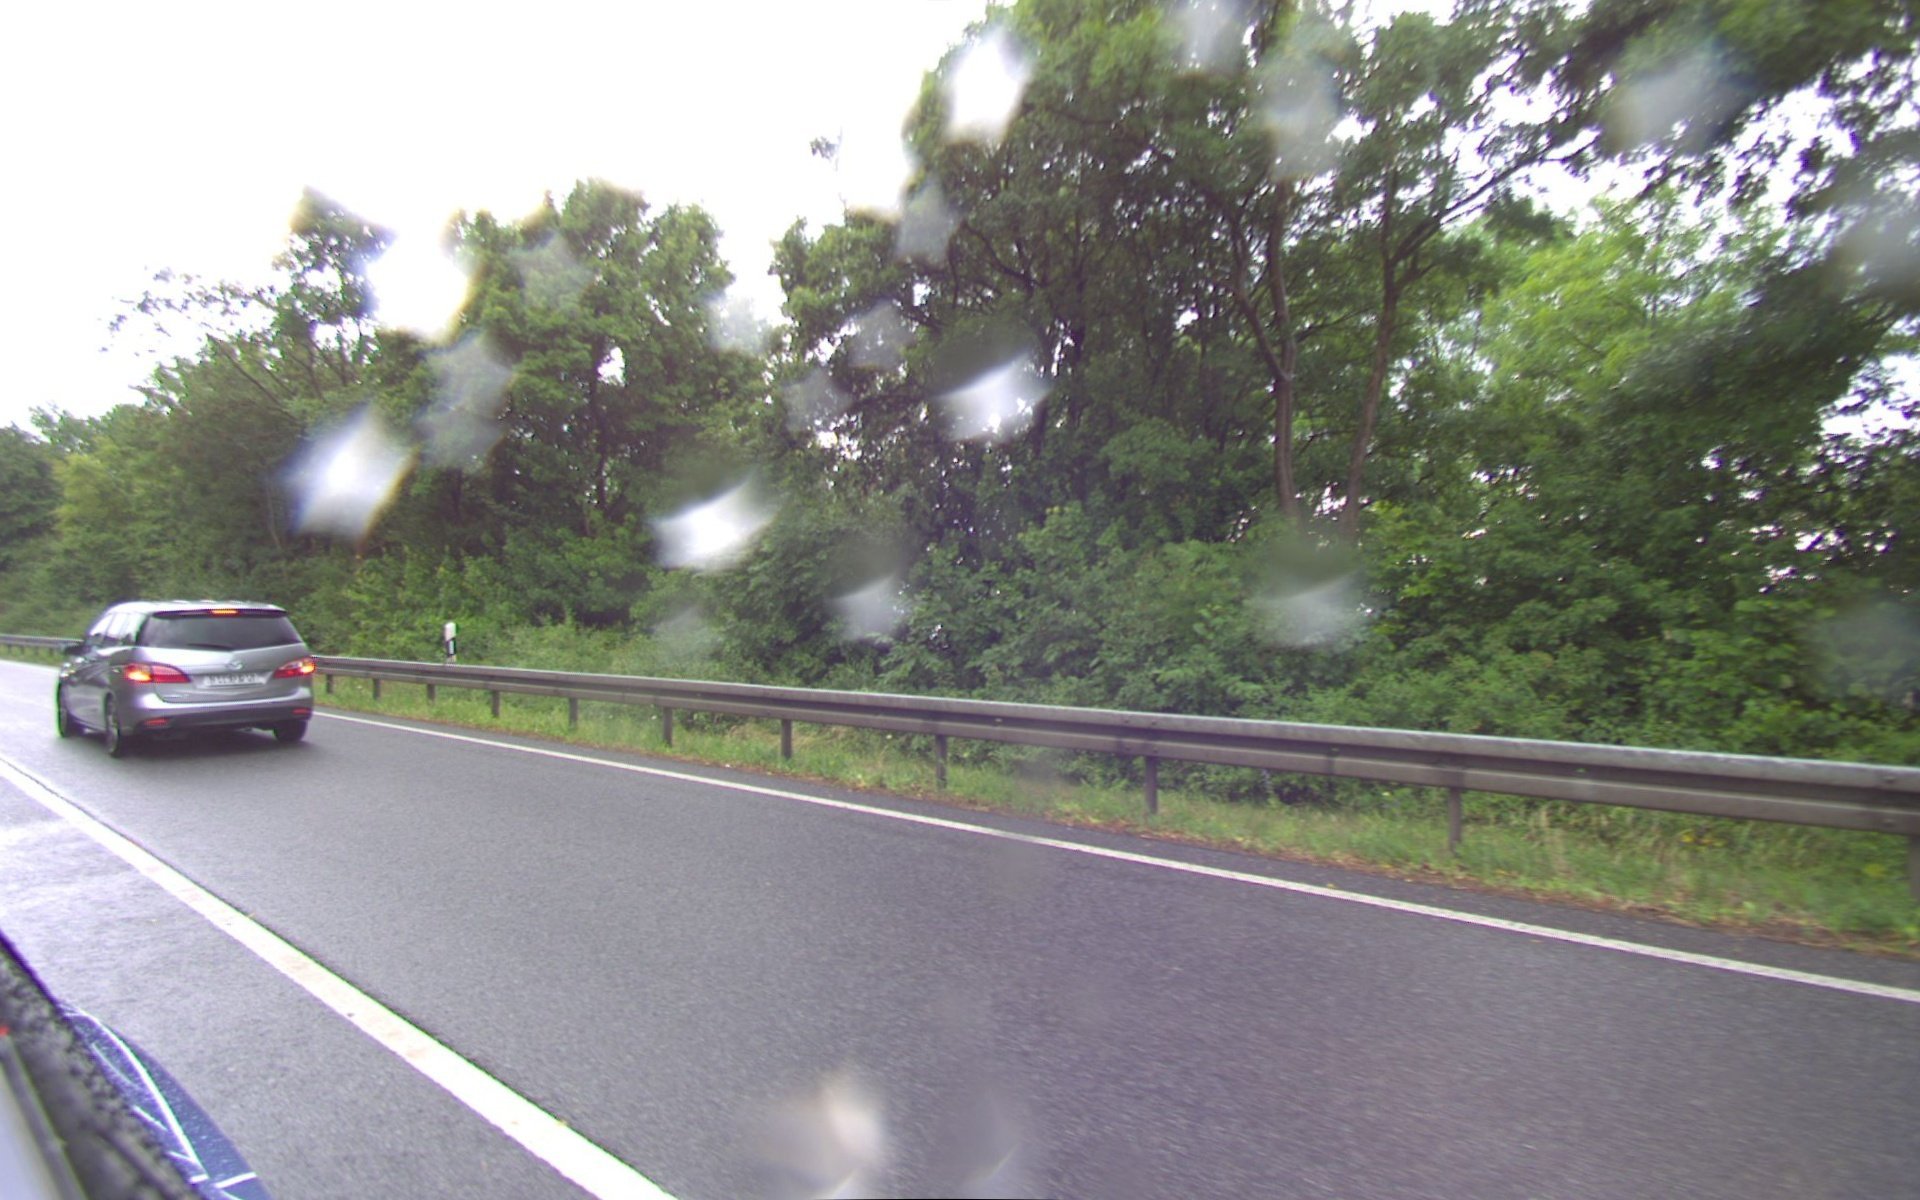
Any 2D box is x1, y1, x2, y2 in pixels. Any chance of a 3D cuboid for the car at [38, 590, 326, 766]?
[{"bbox_3d":[-9.009,0.767,11.602,4.079,1.672,1.778,-1,-1,40],"label":"car"}]
